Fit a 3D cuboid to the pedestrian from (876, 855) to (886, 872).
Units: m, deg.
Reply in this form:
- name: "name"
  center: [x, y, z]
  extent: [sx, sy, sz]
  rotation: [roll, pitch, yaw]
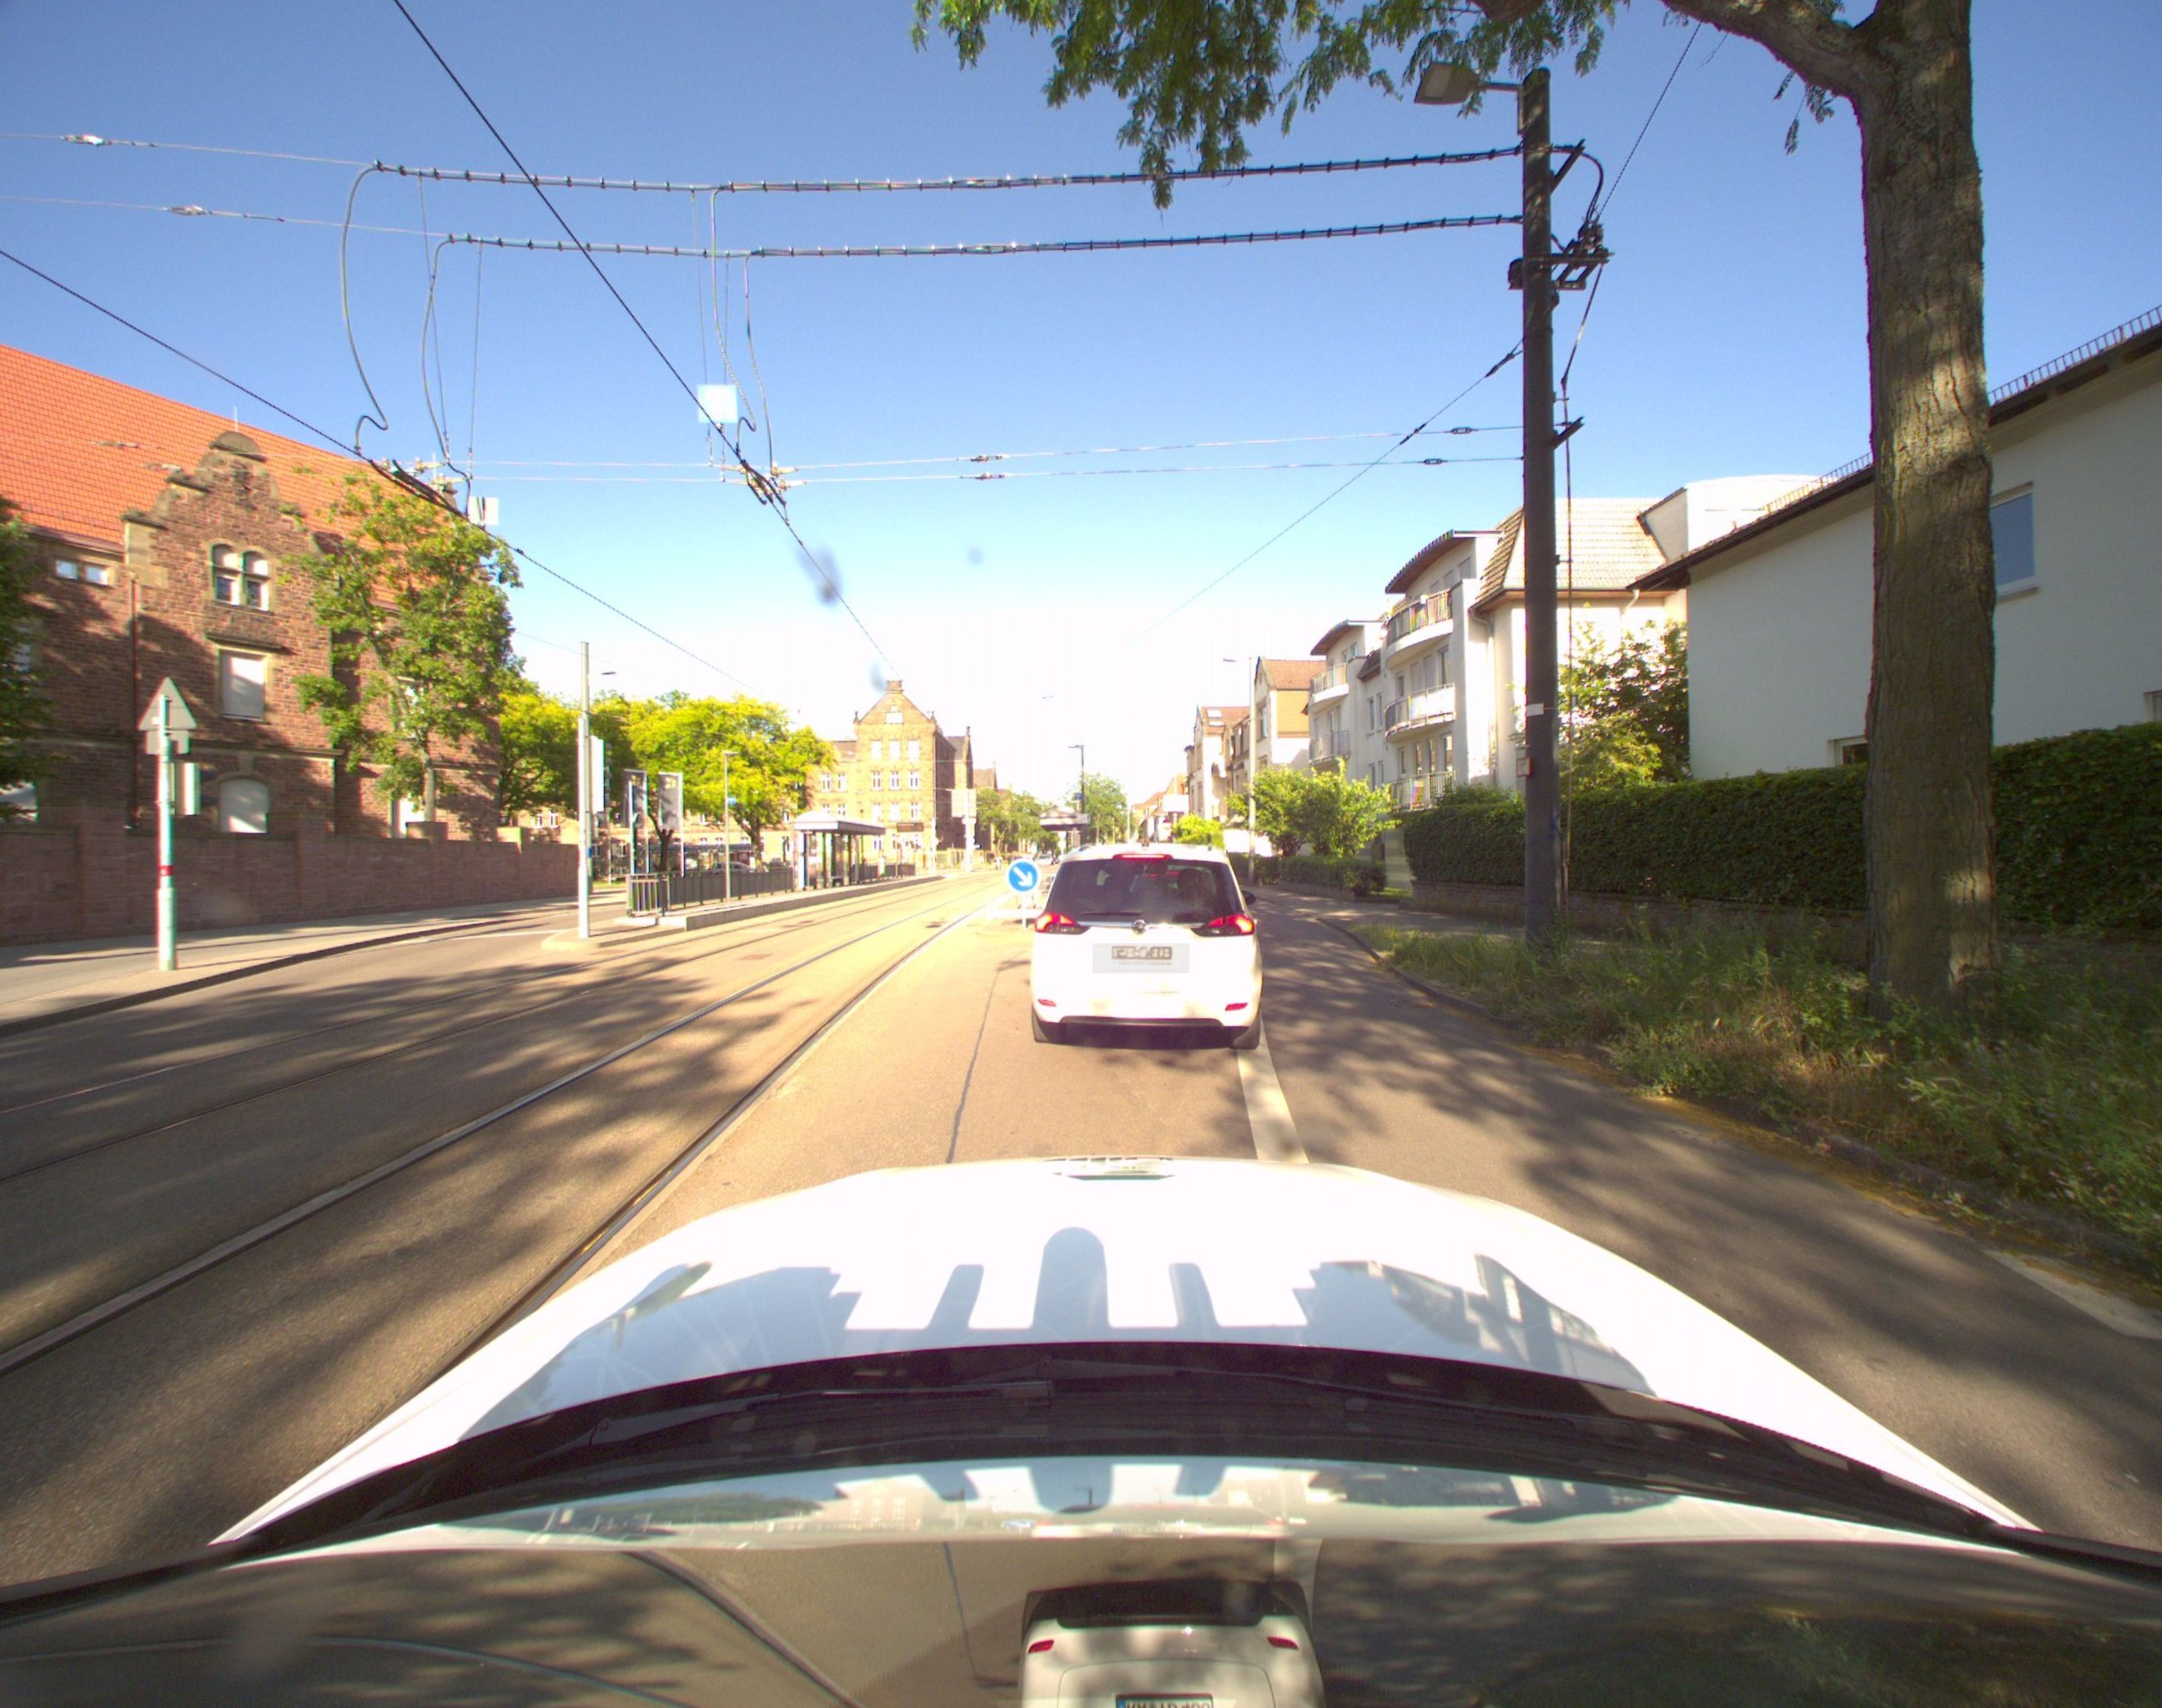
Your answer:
- name: "pedestrian"
  center: [-19.332, 0.912, 78.765]
  extent: [0.799, 1.588, 0.934]
  rotation: [0, -1, -1]

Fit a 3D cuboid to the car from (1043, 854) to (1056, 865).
- name: "car"
  center: [-5.123, 0.913, 132.071]
  extent: [1.987, 1.629, 4.000]
  rotation: [-1, 0, 0]

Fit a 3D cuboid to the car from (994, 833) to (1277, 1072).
- name: "car"
  center: [0.650, 0.689, 7.708]
  extent: [1.982, 1.644, 4.003]
  rotation: [0, 0, 8]

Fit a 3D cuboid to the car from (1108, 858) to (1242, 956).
- name: "car"
  center: [1.537, 0.795, 14.070]
  extent: [1.944, 1.397, 4.005]
  rotation: [-1, 0, 4]

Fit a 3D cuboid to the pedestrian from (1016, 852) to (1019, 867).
- name: "pedestrian"
  center: [-8.765, 0.779, 112.379]
  extent: [0.443, 2.013, 0.495]
  rotation: [-1, 0, -2]

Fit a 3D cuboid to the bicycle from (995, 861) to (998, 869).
- name: "bicycle"
  center: [-10.711, 1.420, 103.528]
  extent: [0.343, 0.950, 1.160]
  rotation: [0, -1, -1]

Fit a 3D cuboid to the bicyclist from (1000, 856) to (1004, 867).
- name: "bicyclist"
  center: [-10.659, 1.002, 109.608]
  extent: [0.443, 1.553, 0.495]
  rotation: [-1, 0, -2]

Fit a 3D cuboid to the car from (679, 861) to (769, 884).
- name: "car"
  center: [-33.098, 1.715, 75.723]
  extent: [6.927, 1.921, 2.992]
  rotation: [-1, 0, 0]

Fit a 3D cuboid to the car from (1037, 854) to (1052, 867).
- name: "car"
  center: [-4.812, 0.896, 107.626]
  extent: [1.989, 1.629, 3.996]
  rotation: [-1, 0, -3]

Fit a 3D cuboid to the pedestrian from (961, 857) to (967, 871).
- name: "pedestrian"
  center: [-14.827, 1.257, 103.383]
  extent: [0.733, 1.714, 0.705]
  rotation: [0, -1, -6]

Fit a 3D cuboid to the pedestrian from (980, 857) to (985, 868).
- name: "pedestrian"
  center: [-15.490, 1.320, 127.812]
  extent: [0.733, 1.714, 0.753]
  rotation: [0, -1, -4]

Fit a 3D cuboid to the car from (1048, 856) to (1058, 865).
- name: "car"
  center: [-5.401, 1.174, 156.823]
  extent: [1.989, 1.629, 3.984]
  rotation: [-1, 0, -3]

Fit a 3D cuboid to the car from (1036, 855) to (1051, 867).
- name: "car"
  center: [-5.293, 0.957, 114.749]
  extent: [1.989, 1.629, 3.996]
  rotation: [-1, 0, -3]

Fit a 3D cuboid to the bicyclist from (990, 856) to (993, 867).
- name: "bicyclist"
  center: [-12.681, 1.065, 115.606]
  extent: [0.443, 1.553, 0.495]
  rotation: [-1, 0, -2]

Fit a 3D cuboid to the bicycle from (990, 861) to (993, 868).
- name: "bicycle"
  center: [-12.674, 1.533, 115.641]
  extent: [0.343, 0.950, 0.996]
  rotation: [0, -1, -1]

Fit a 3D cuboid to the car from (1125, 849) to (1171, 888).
- name: "car"
  center: [2.935, 0.614, 36.255]
  extent: [1.824, 1.579, 4.012]
  rotation: [-1, 0, 2]

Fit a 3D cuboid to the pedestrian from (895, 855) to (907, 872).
- name: "pedestrian"
  center: [-17.101, 0.899, 77.465]
  extent: [0.892, 1.684, 1.029]
  rotation: [0, -1, 1]

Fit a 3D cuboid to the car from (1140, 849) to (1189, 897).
- name: "car"
  center: [2.949, 0.639, 29.324]
  extent: [1.630, 1.601, 3.859]
  rotation: [-1, 0, 4]

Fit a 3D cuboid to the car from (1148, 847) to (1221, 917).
- name: "car"
  center: [2.579, 0.642, 20.899]
  extent: [1.630, 1.601, 3.859]
  rotation: [-1, 0, 4]

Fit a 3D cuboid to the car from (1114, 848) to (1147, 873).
- name: "car"
  center: [3.106, 0.388, 51.848]
  extent: [1.986, 1.503, 4.002]
  rotation: [-1, 0, 2]

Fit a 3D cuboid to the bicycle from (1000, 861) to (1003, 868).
- name: "bicycle"
  center: [-10.657, 1.469, 109.613]
  extent: [0.343, 0.950, 0.996]
  rotation: [0, -1, -1]

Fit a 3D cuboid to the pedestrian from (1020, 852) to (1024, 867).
- name: "pedestrian"
  center: [-8.156, 0.777, 112.652]
  extent: [0.443, 2.013, 0.495]
  rotation: [-1, 0, -2]

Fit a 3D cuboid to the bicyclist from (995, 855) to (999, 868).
- name: "bicyclist"
  center: [-10.703, 0.954, 103.738]
  extent: [0.443, 1.553, 0.742]
  rotation: [-1, 0, -2]

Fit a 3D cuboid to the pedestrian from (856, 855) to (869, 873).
- name: "pedestrian"
  center: [-20.130, 0.910, 75.119]
  extent: [0.839, 1.691, 1.029]
  rotation: [0, -1, 1]

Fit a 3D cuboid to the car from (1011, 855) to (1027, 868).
- name: "car"
  center: [-8.188, 0.929, 107.484]
  extent: [1.989, 1.629, 3.996]
  rotation: [-1, 0, -3]

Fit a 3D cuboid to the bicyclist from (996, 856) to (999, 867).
- name: "bicyclist"
  center: [-10.975, 0.984, 107.029]
  extent: [0.443, 1.553, 0.495]
  rotation: [-1, 0, -2]
